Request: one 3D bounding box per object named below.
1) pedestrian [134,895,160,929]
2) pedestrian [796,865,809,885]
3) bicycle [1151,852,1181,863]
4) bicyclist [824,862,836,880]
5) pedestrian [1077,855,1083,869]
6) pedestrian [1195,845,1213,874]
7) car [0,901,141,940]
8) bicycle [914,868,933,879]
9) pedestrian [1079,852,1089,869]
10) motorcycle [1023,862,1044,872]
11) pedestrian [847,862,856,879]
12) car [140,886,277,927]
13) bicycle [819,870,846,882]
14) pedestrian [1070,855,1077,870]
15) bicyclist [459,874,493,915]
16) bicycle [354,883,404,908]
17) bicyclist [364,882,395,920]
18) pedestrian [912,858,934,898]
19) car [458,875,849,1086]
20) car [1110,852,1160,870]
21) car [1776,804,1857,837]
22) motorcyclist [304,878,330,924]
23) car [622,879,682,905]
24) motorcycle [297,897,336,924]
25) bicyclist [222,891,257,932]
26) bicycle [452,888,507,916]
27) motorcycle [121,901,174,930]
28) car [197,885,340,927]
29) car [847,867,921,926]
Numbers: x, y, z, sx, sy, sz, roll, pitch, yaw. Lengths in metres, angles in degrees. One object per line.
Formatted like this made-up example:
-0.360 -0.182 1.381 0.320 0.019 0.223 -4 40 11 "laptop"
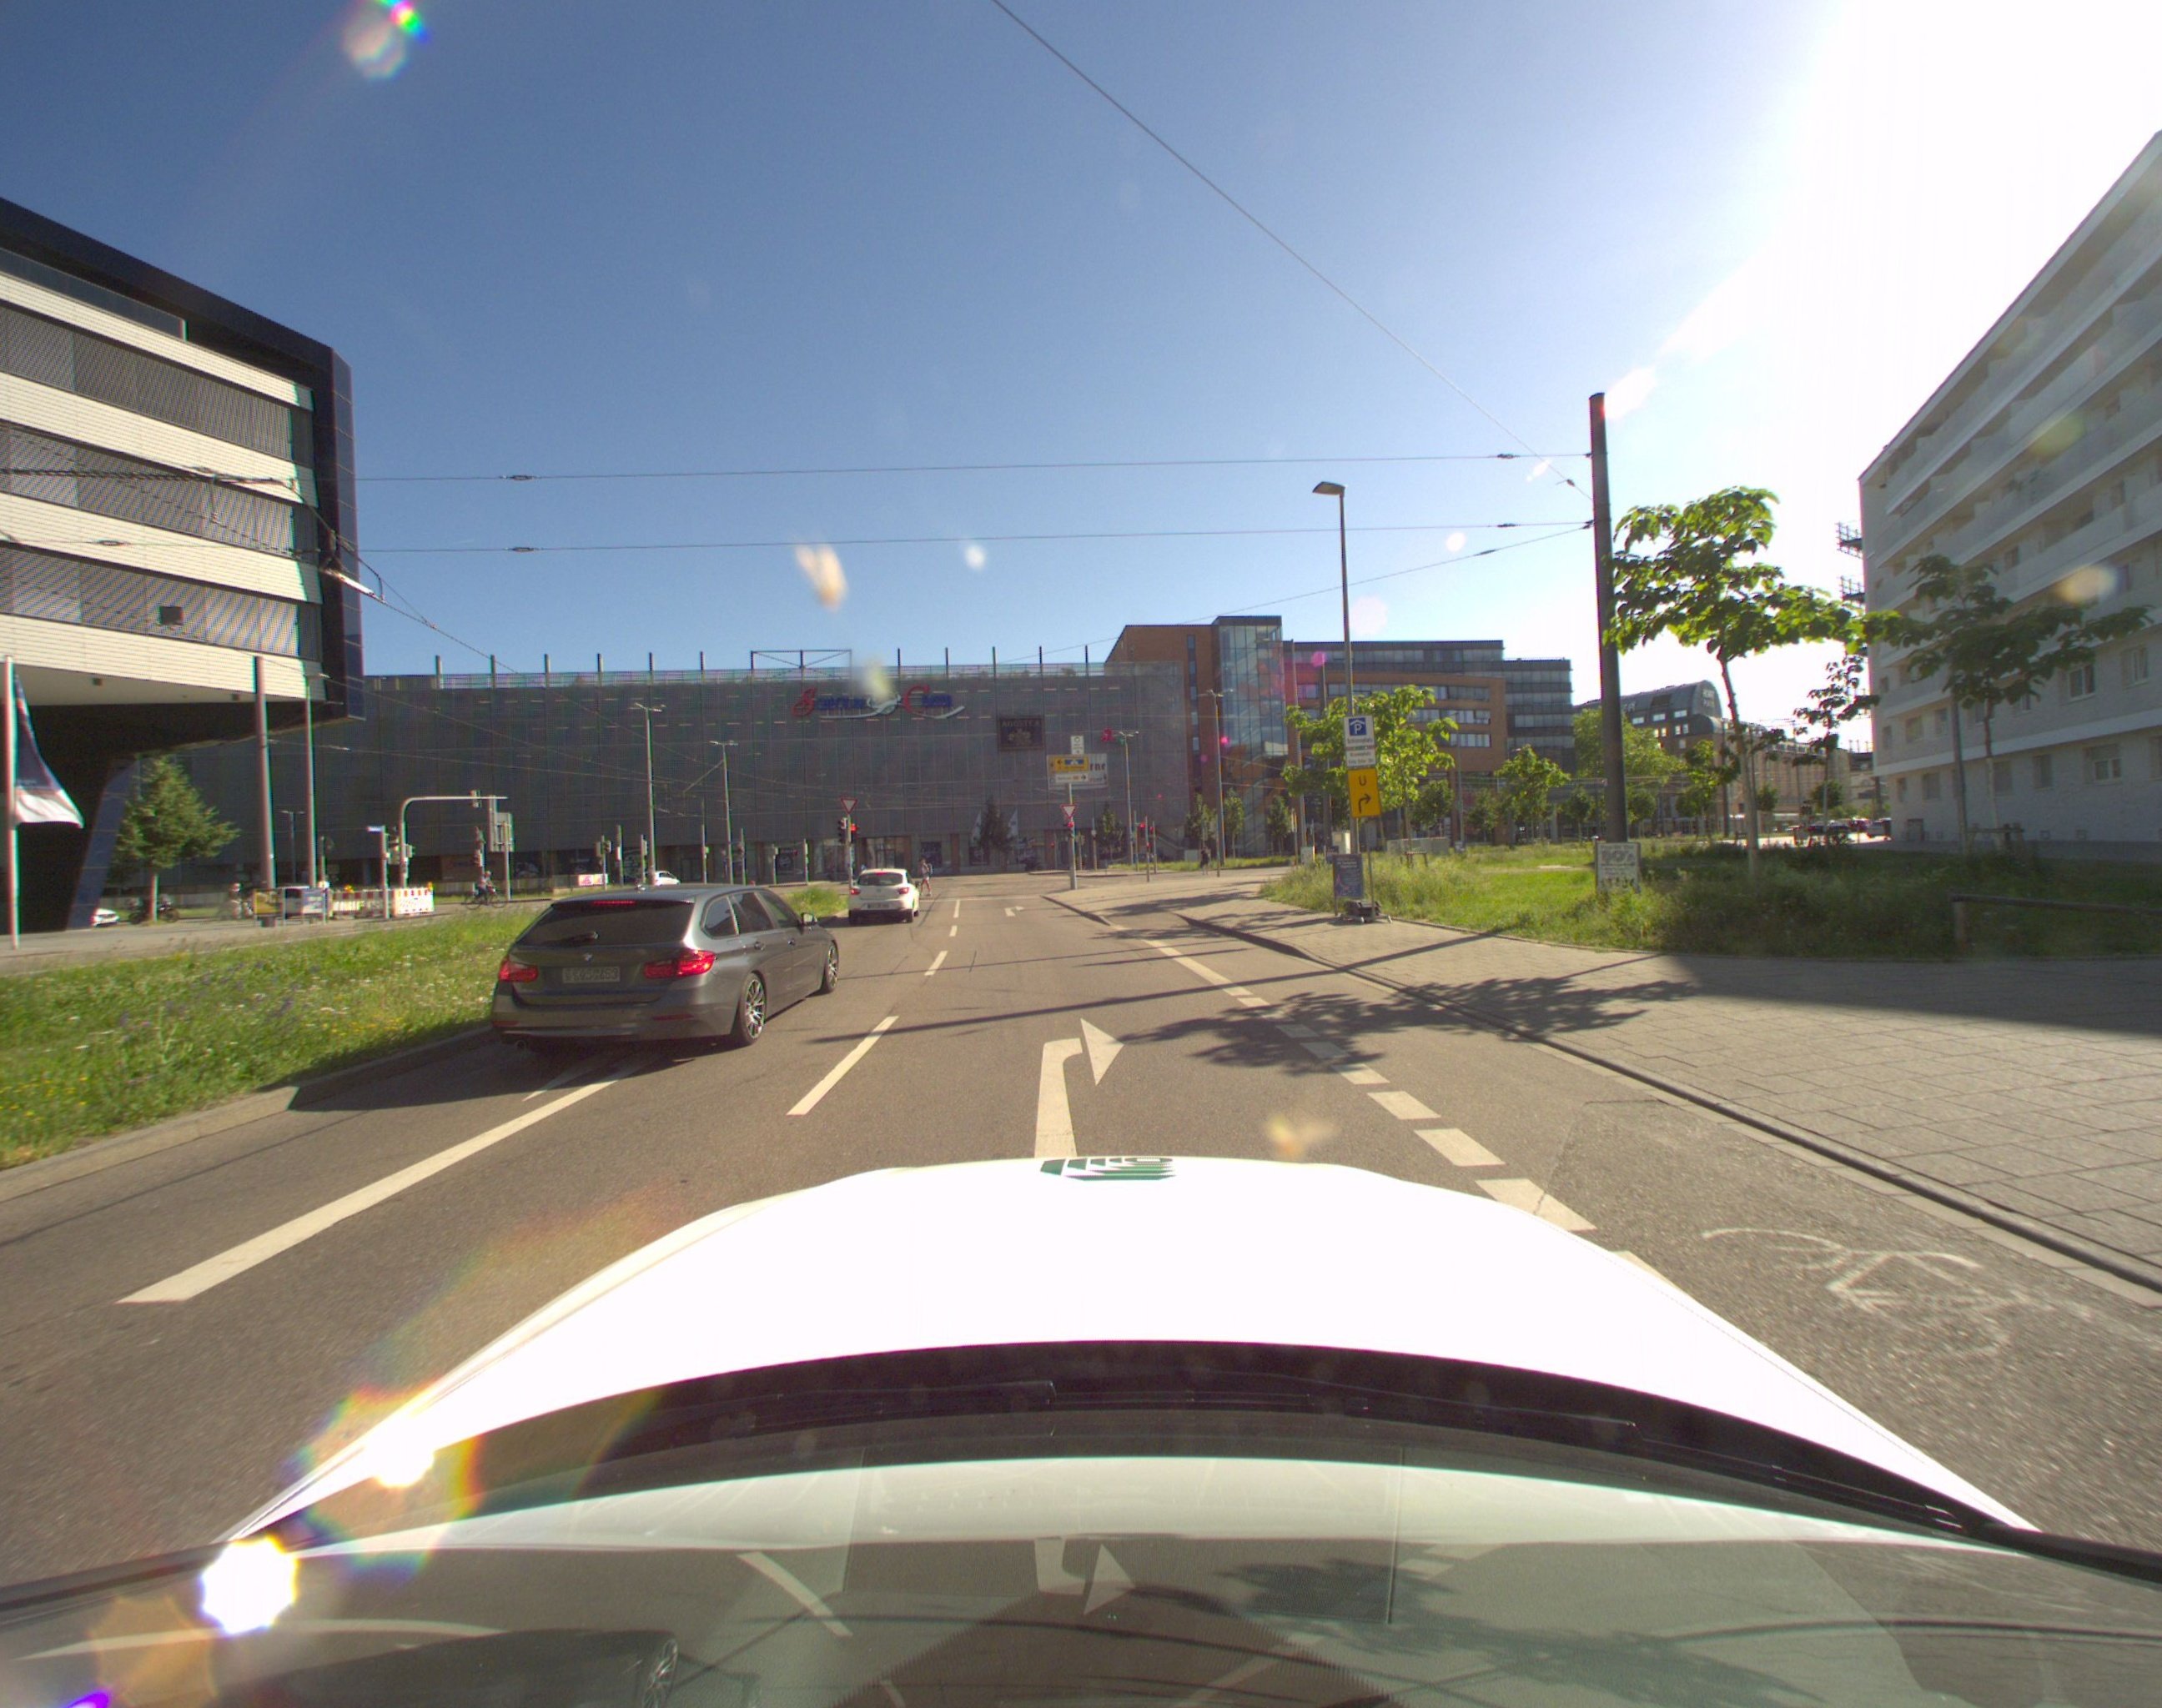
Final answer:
-46.430 2.878 40.484 0.688 1.668 0.366 -3 0 -20 "pedestrian"
-27.907 2.110 81.533 0.894 1.868 0.826 -3 0 34 "pedestrian"
9.747 0.409 93.483 3.352 1.077 1.116 -2 0 -3 "bicycle"
-25.144 1.684 81.583 0.806 1.803 0.850 -3 0 40 "bicyclist"
-0.103 0.878 88.730 0.589 1.462 0.656 -3 0 -9 "pedestrian"
7.548 0.324 50.052 0.806 1.708 0.759 -3 0 -9 "pedestrian"
-47.116 3.082 37.892 4.075 1.464 1.907 -3 0 -8 "car"
-17.113 2.090 88.525 2.026 1.059 1.141 -3 0 -9 "bicycle"
0.307 0.658 84.344 0.855 1.738 0.750 -3 0 -15 "pedestrian"
-5.272 1.472 90.737 2.201 1.042 1.058 -2 0 -9 "motorcycle"
-24.952 1.823 88.525 0.848 1.763 0.618 -3 0 -10 "pedestrian"
-44.435 2.667 41.569 4.630 1.718 1.835 -2 1 -7 "car"
-24.964 2.215 81.837 1.033 1.070 2.259 -3 0 41 "bicycle"
-0.848 0.915 88.002 0.589 1.534 0.656 -3 0 -9 "pedestrian"
-28.210 1.877 38.008 0.901 1.859 0.852 -3 0 -8 "bicyclist"
-32.370 1.897 37.556 1.577 1.107 0.731 0 -1 -12 "bicycle"
-32.254 2.159 37.430 0.783 1.648 0.688 -3 0 -11 "bicyclist"
-7.058 1.058 36.403 0.885 1.707 0.710 -3 0 -9 "pedestrian"
-3.706 0.960 8.107 1.730 1.423 4.462 0 0 -3 "car"
5.099 0.685 77.080 4.485 1.494 1.490 -3 0 -9 "car"
50.889 -2.315 56.384 2.012 2.013 3.950 -2 0 -45 "car"
-34.791 2.122 37.105 0.627 2.013 0.496 -3 0 -9 "motorcyclist"
-32.550 2.860 61.869 1.740 1.794 4.015 -1 -1 14 "car"
-34.816 2.579 37.100 1.186 1.121 0.482 -3 0 -9 "motorcycle"
-38.065 2.583 36.851 0.764 1.789 0.760 -3 0 -12 "bicyclist"
-28.059 2.234 38.030 1.828 1.116 0.851 -3 0 -9 "bicycle"
-46.398 3.063 40.503 1.613 1.298 0.597 -3 0 -18 "motorcycle"
-38.613 2.436 38.810 4.490 1.634 1.832 -3 1 -11 "car"
-5.337 1.098 22.468 1.631 1.423 3.771 0 0 -8 "car"
